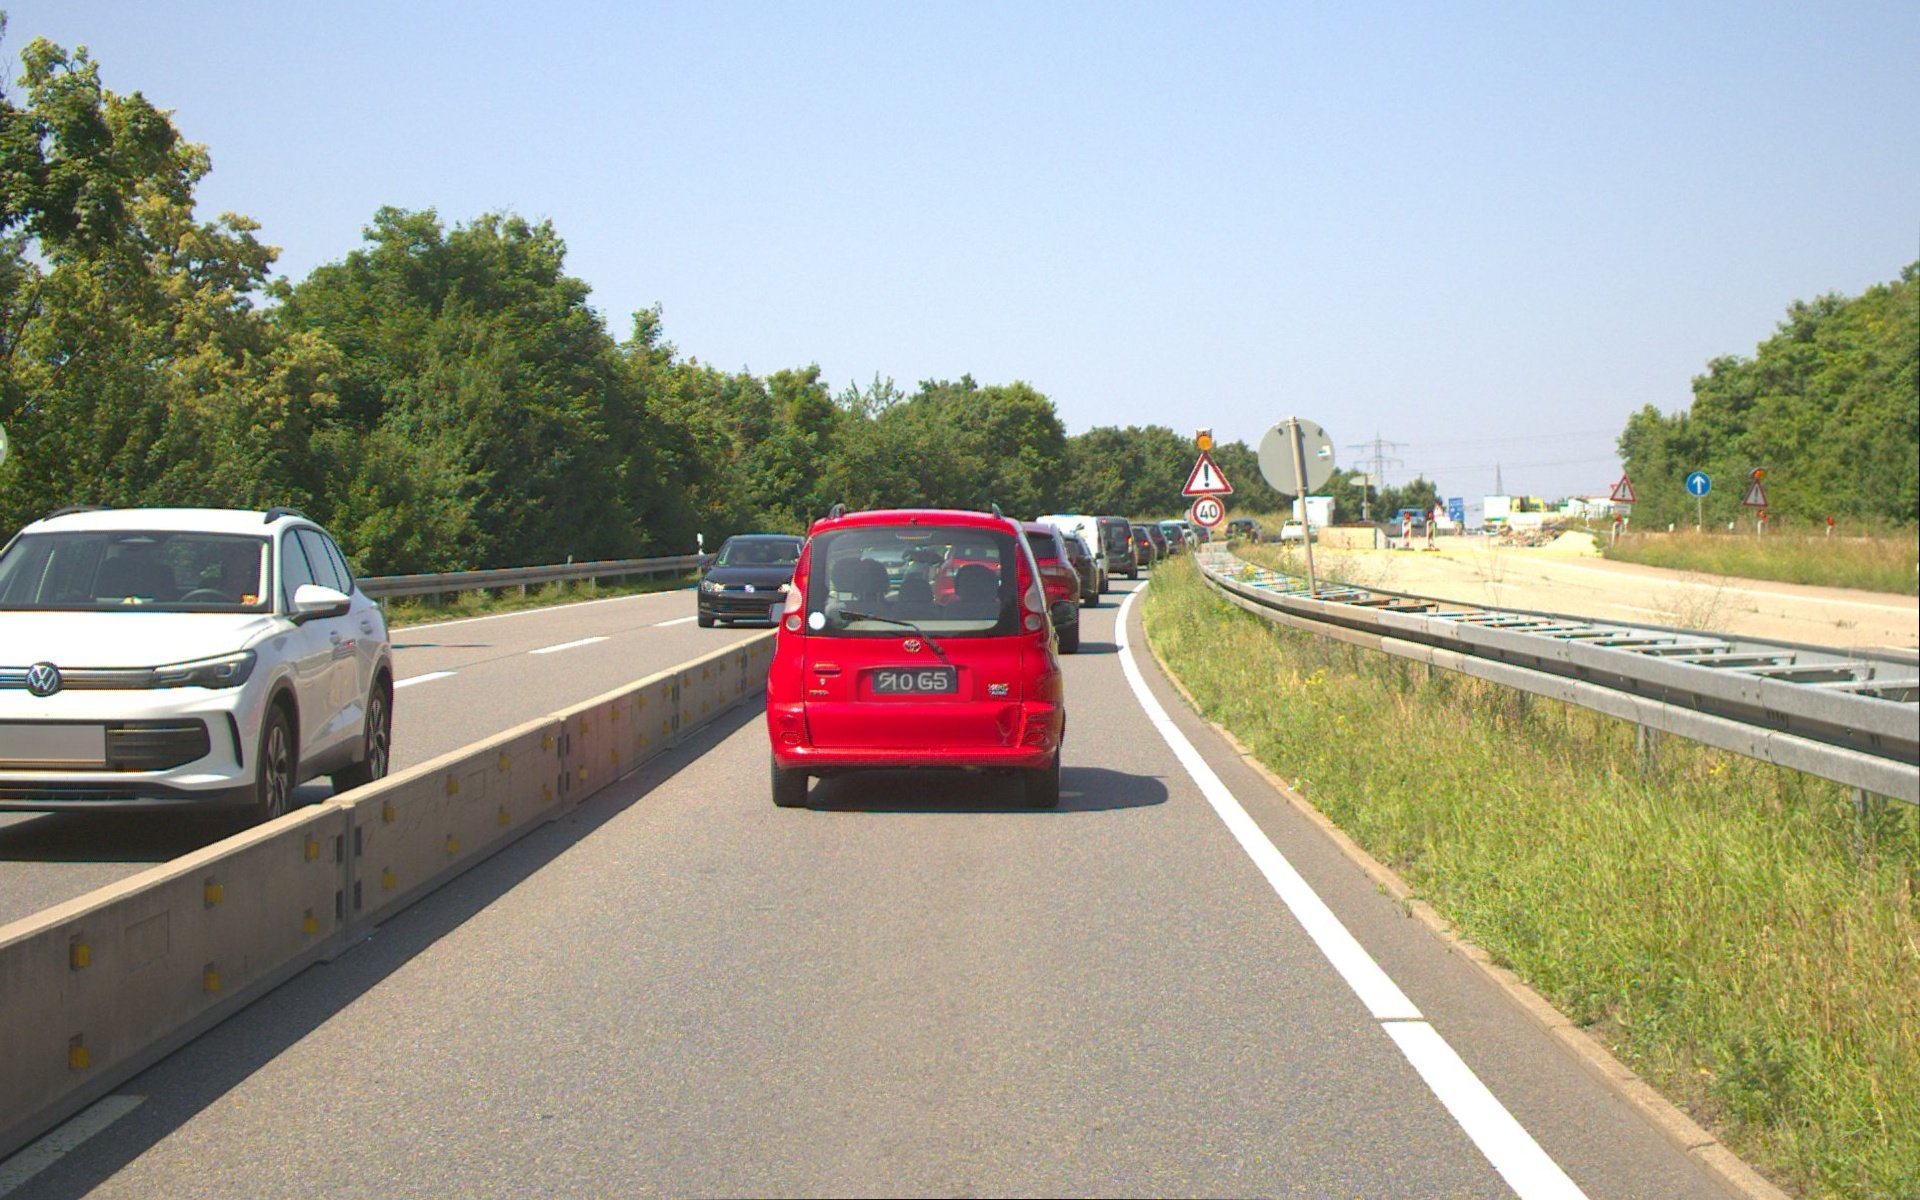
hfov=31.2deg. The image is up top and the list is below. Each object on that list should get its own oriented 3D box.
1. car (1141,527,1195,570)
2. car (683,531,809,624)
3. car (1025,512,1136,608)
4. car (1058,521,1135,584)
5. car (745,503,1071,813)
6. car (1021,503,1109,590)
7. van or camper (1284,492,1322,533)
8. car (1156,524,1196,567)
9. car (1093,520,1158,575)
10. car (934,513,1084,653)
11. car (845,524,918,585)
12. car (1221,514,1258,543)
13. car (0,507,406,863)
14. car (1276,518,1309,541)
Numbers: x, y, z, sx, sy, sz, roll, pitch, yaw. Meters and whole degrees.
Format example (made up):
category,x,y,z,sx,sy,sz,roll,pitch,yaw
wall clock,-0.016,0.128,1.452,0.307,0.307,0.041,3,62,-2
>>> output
category,x,y,z,sx,sy,sz,roll,pitch,yaw
car,7.823,-1.946,129.439,1.994,1.579,4.000,0,1,3
car,-3.362,-0.376,54.629,1.815,1.419,4.109,0,1,-1
car,2.354,-0.799,68.051,1.993,1.831,4.000,0,1,-1
car,3.869,-1.382,98.129,1.993,1.744,4.000,0,1,0
car,-0.261,0.275,20.527,1.752,1.667,4.000,0,1,1
car,2.503,-1.267,81.187,1.994,1.997,4.000,0,1,3
van or camper,23.318,-5.935,233.785,2.328,2.697,4.593,-1,1,3
car,8.802,-2.229,140.125,1.502,1.730,3.169,1,1,6
car,5.514,-1.755,114.665,1.993,1.777,4.000,-1,1,1
car,0.619,-0.248,44.223,1.830,1.716,4.000,0,1,0
car,-1.949,-1.147,86.023,1.725,1.491,4.389,0,1,0
car,15.294,-3.886,188.099,1.994,1.546,3.999,-1,1,5
car,-4.098,0.341,17.642,1.848,1.595,4.322,0,1,-1
car,21.416,-4.541,221.562,1.994,1.481,4.000,-1,1,4
